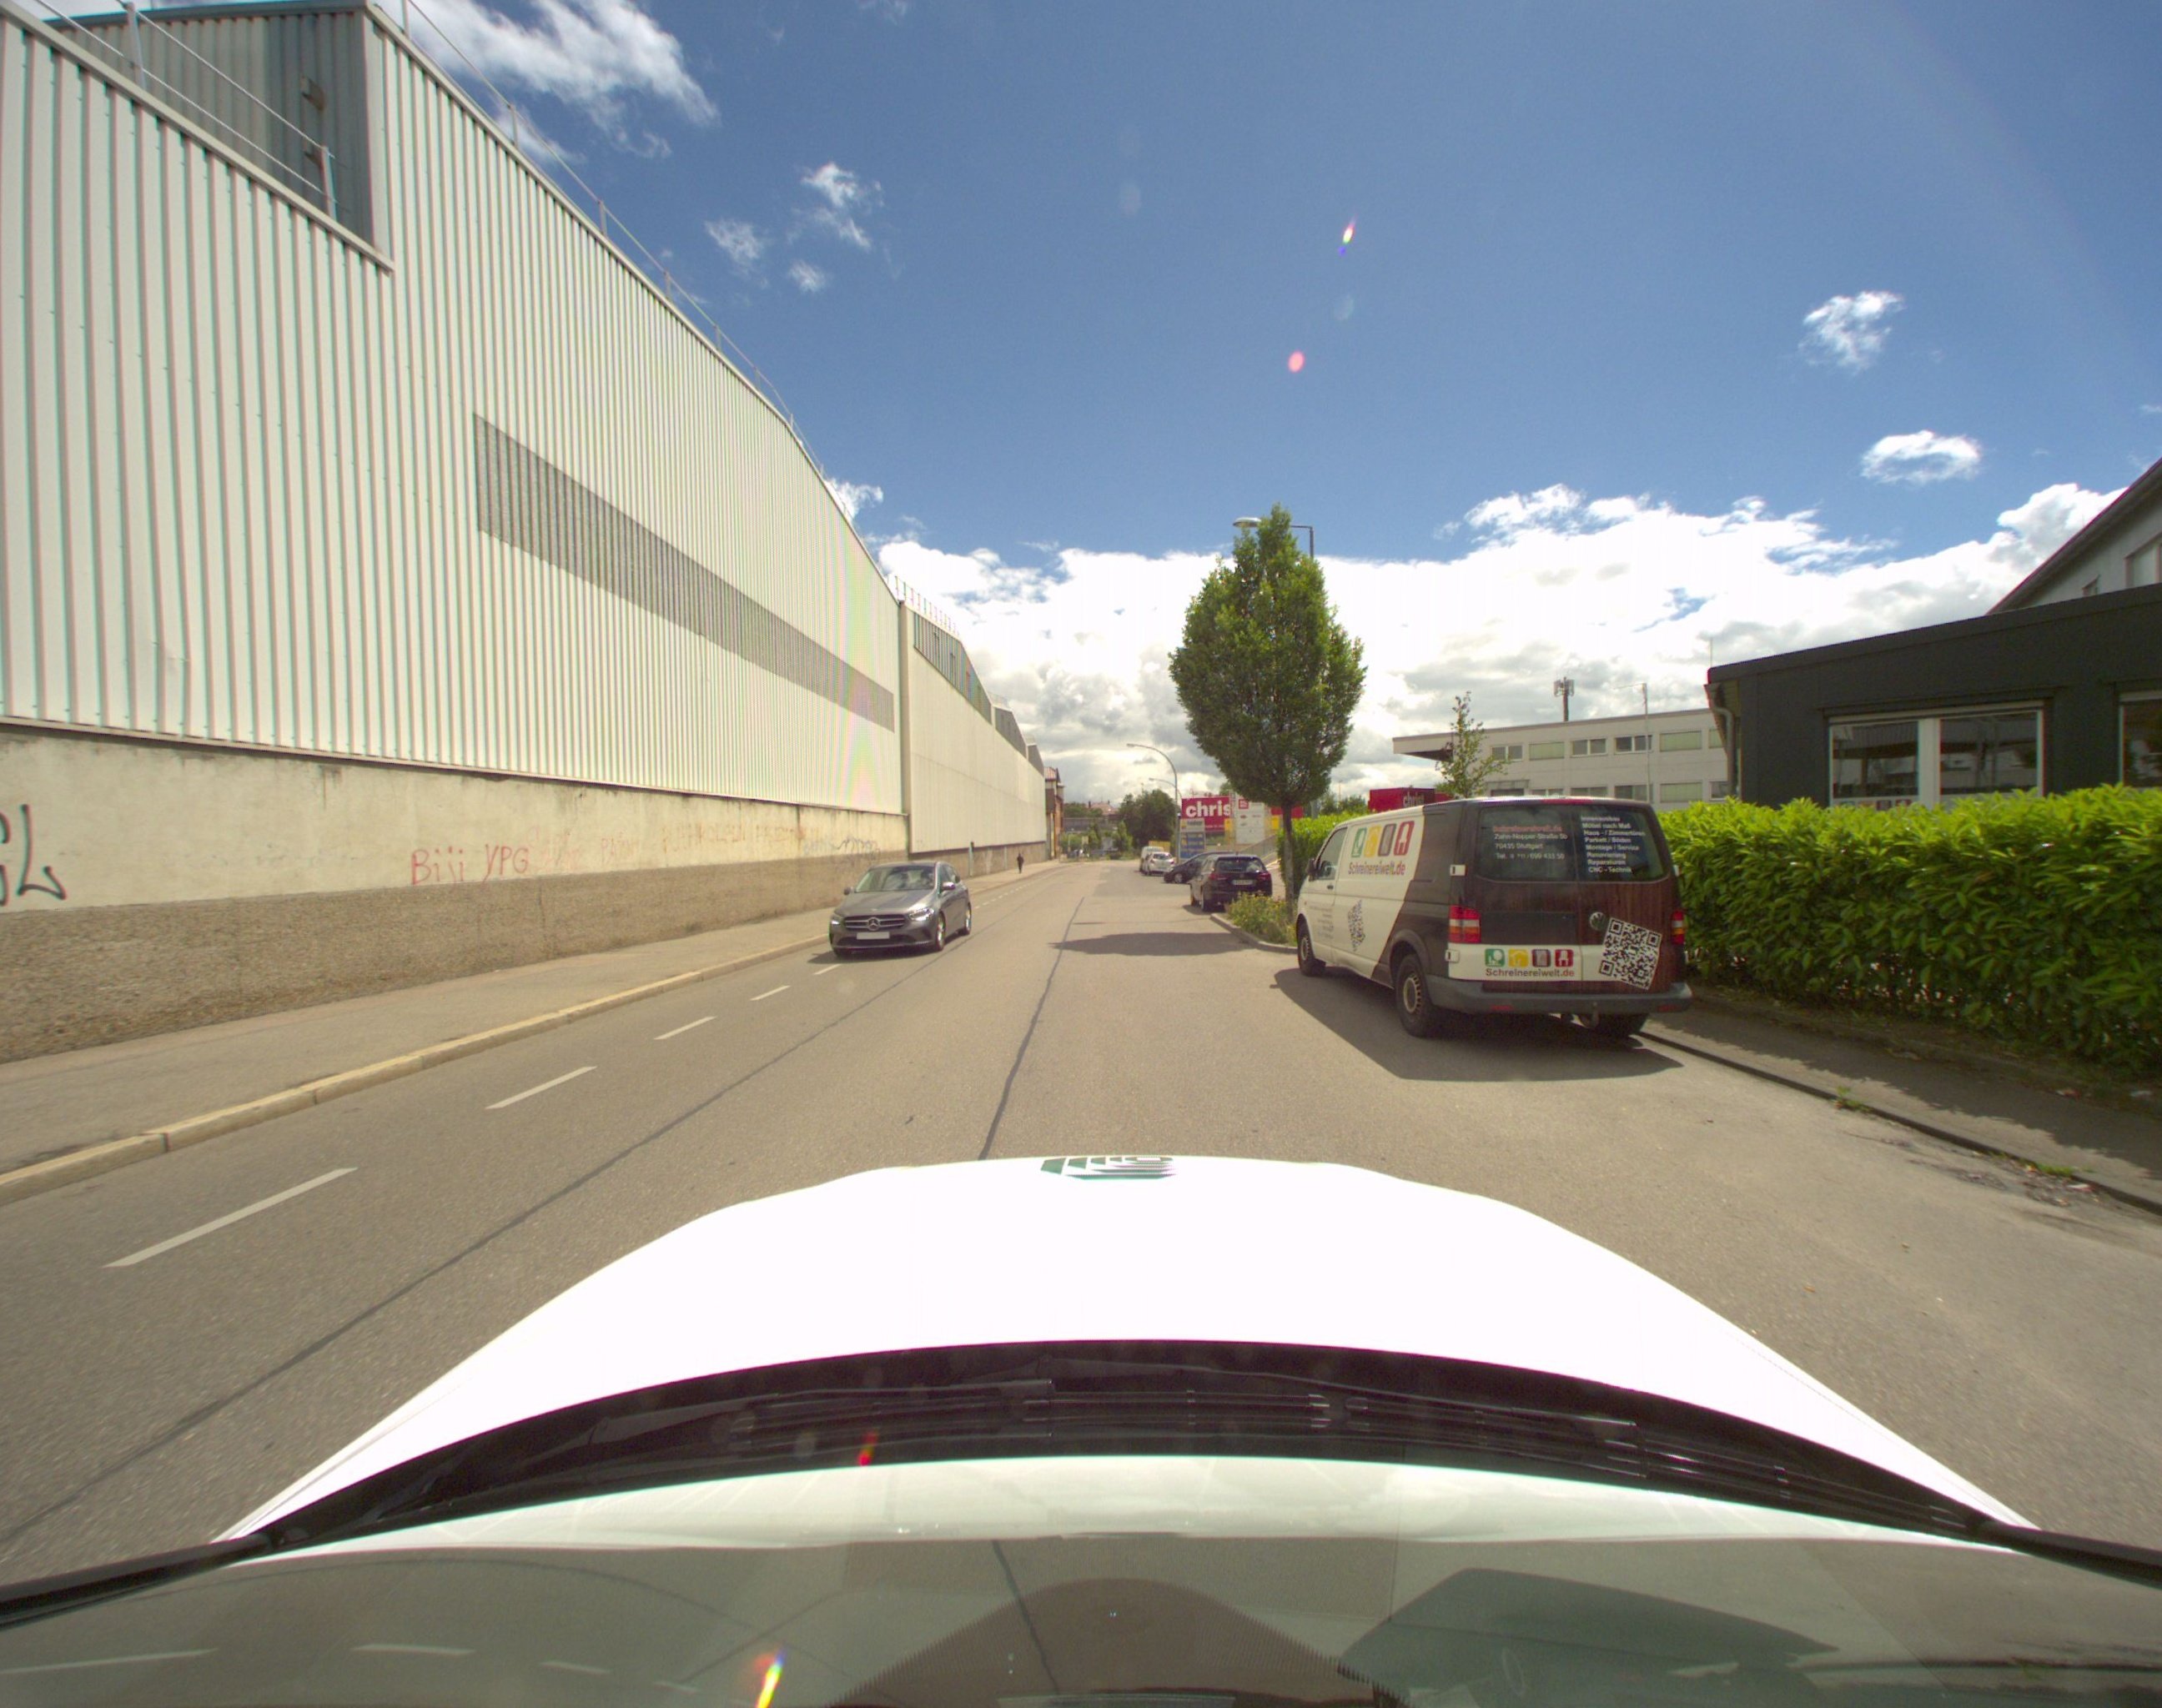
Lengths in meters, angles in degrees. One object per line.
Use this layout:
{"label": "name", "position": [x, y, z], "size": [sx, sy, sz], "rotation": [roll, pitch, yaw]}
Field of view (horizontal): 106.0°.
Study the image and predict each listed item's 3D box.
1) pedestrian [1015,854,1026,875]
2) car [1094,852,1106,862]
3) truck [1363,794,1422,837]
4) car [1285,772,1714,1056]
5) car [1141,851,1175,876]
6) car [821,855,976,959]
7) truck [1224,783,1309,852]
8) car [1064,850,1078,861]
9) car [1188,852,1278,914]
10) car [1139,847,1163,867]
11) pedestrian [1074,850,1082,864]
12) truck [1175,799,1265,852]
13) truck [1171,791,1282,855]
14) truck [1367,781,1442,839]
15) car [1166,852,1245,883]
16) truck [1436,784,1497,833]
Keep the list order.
{"label": "pedestrian", "position": [-4.777, 0.853, 63.914], "size": [0.710, 1.638, 0.778], "rotation": [-1, -2, 3]}
{"label": "car", "position": [3.124, 0.456, 130.760], "size": [1.846, 1.486, 4.000], "rotation": [-1, -2, 1]}
{"label": "truck", "position": [32.945, -3.966, 85.930], "size": [2.961, 4.059, 8.530], "rotation": [-3, -2, 41]}
{"label": "car", "position": [3.630, 0.431, 8.386], "size": [1.862, 1.990, 5.145], "rotation": [-1, 0, 2]}
{"label": "car", "position": [4.912, 0.565, 52.337], "size": [1.697, 1.527, 3.735], "rotation": [1, 0, -2]}
{"label": "car", "position": [-3.111, 0.856, 14.808], "size": [1.713, 1.556, 4.288], "rotation": [-2, -1, 1]}
{"label": "truck", "position": [13.357, -2.495, 59.418], "size": [2.579, 4.449, 7.820], "rotation": [-1, -2, -15]}
{"label": "car", "position": [-1.406, 0.257, 119.330], "size": [1.846, 1.486, 4.000], "rotation": [-1, -2, 1]}
{"label": "car", "position": [3.997, 0.710, 22.090], "size": [1.708, 1.473, 4.513], "rotation": [-1, 0, 2]}
{"label": "car", "position": [5.413, 0.231, 63.176], "size": [1.694, 1.527, 3.741], "rotation": [-1, 0, 3]}
{"label": "pedestrian", "position": [-0.418, 0.387, 102.725], "size": [0.849, 1.663, 0.861], "rotation": [-1, -2, 6]}
{"label": "truck", "position": [13.542, -2.711, 79.303], "size": [8.393, 4.671, 2.591], "rotation": [-2, -2, 12]}
{"label": "truck", "position": [11.791, -2.385, 66.110], "size": [8.375, 4.671, 2.596], "rotation": [-2, -2, 22]}
{"label": "truck", "position": [26.494, -3.444, 66.454], "size": [2.961, 4.059, 8.530], "rotation": [-3, -2, 41]}
{"label": "car", "position": [6.129, 0.641, 40.393], "size": [3.764, 1.447, 1.709], "rotation": [-1, 0, 4]}
{"label": "truck", "position": [36.784, -4.244, 77.584], "size": [2.961, 4.059, 8.530], "rotation": [-3, -2, 41]}
